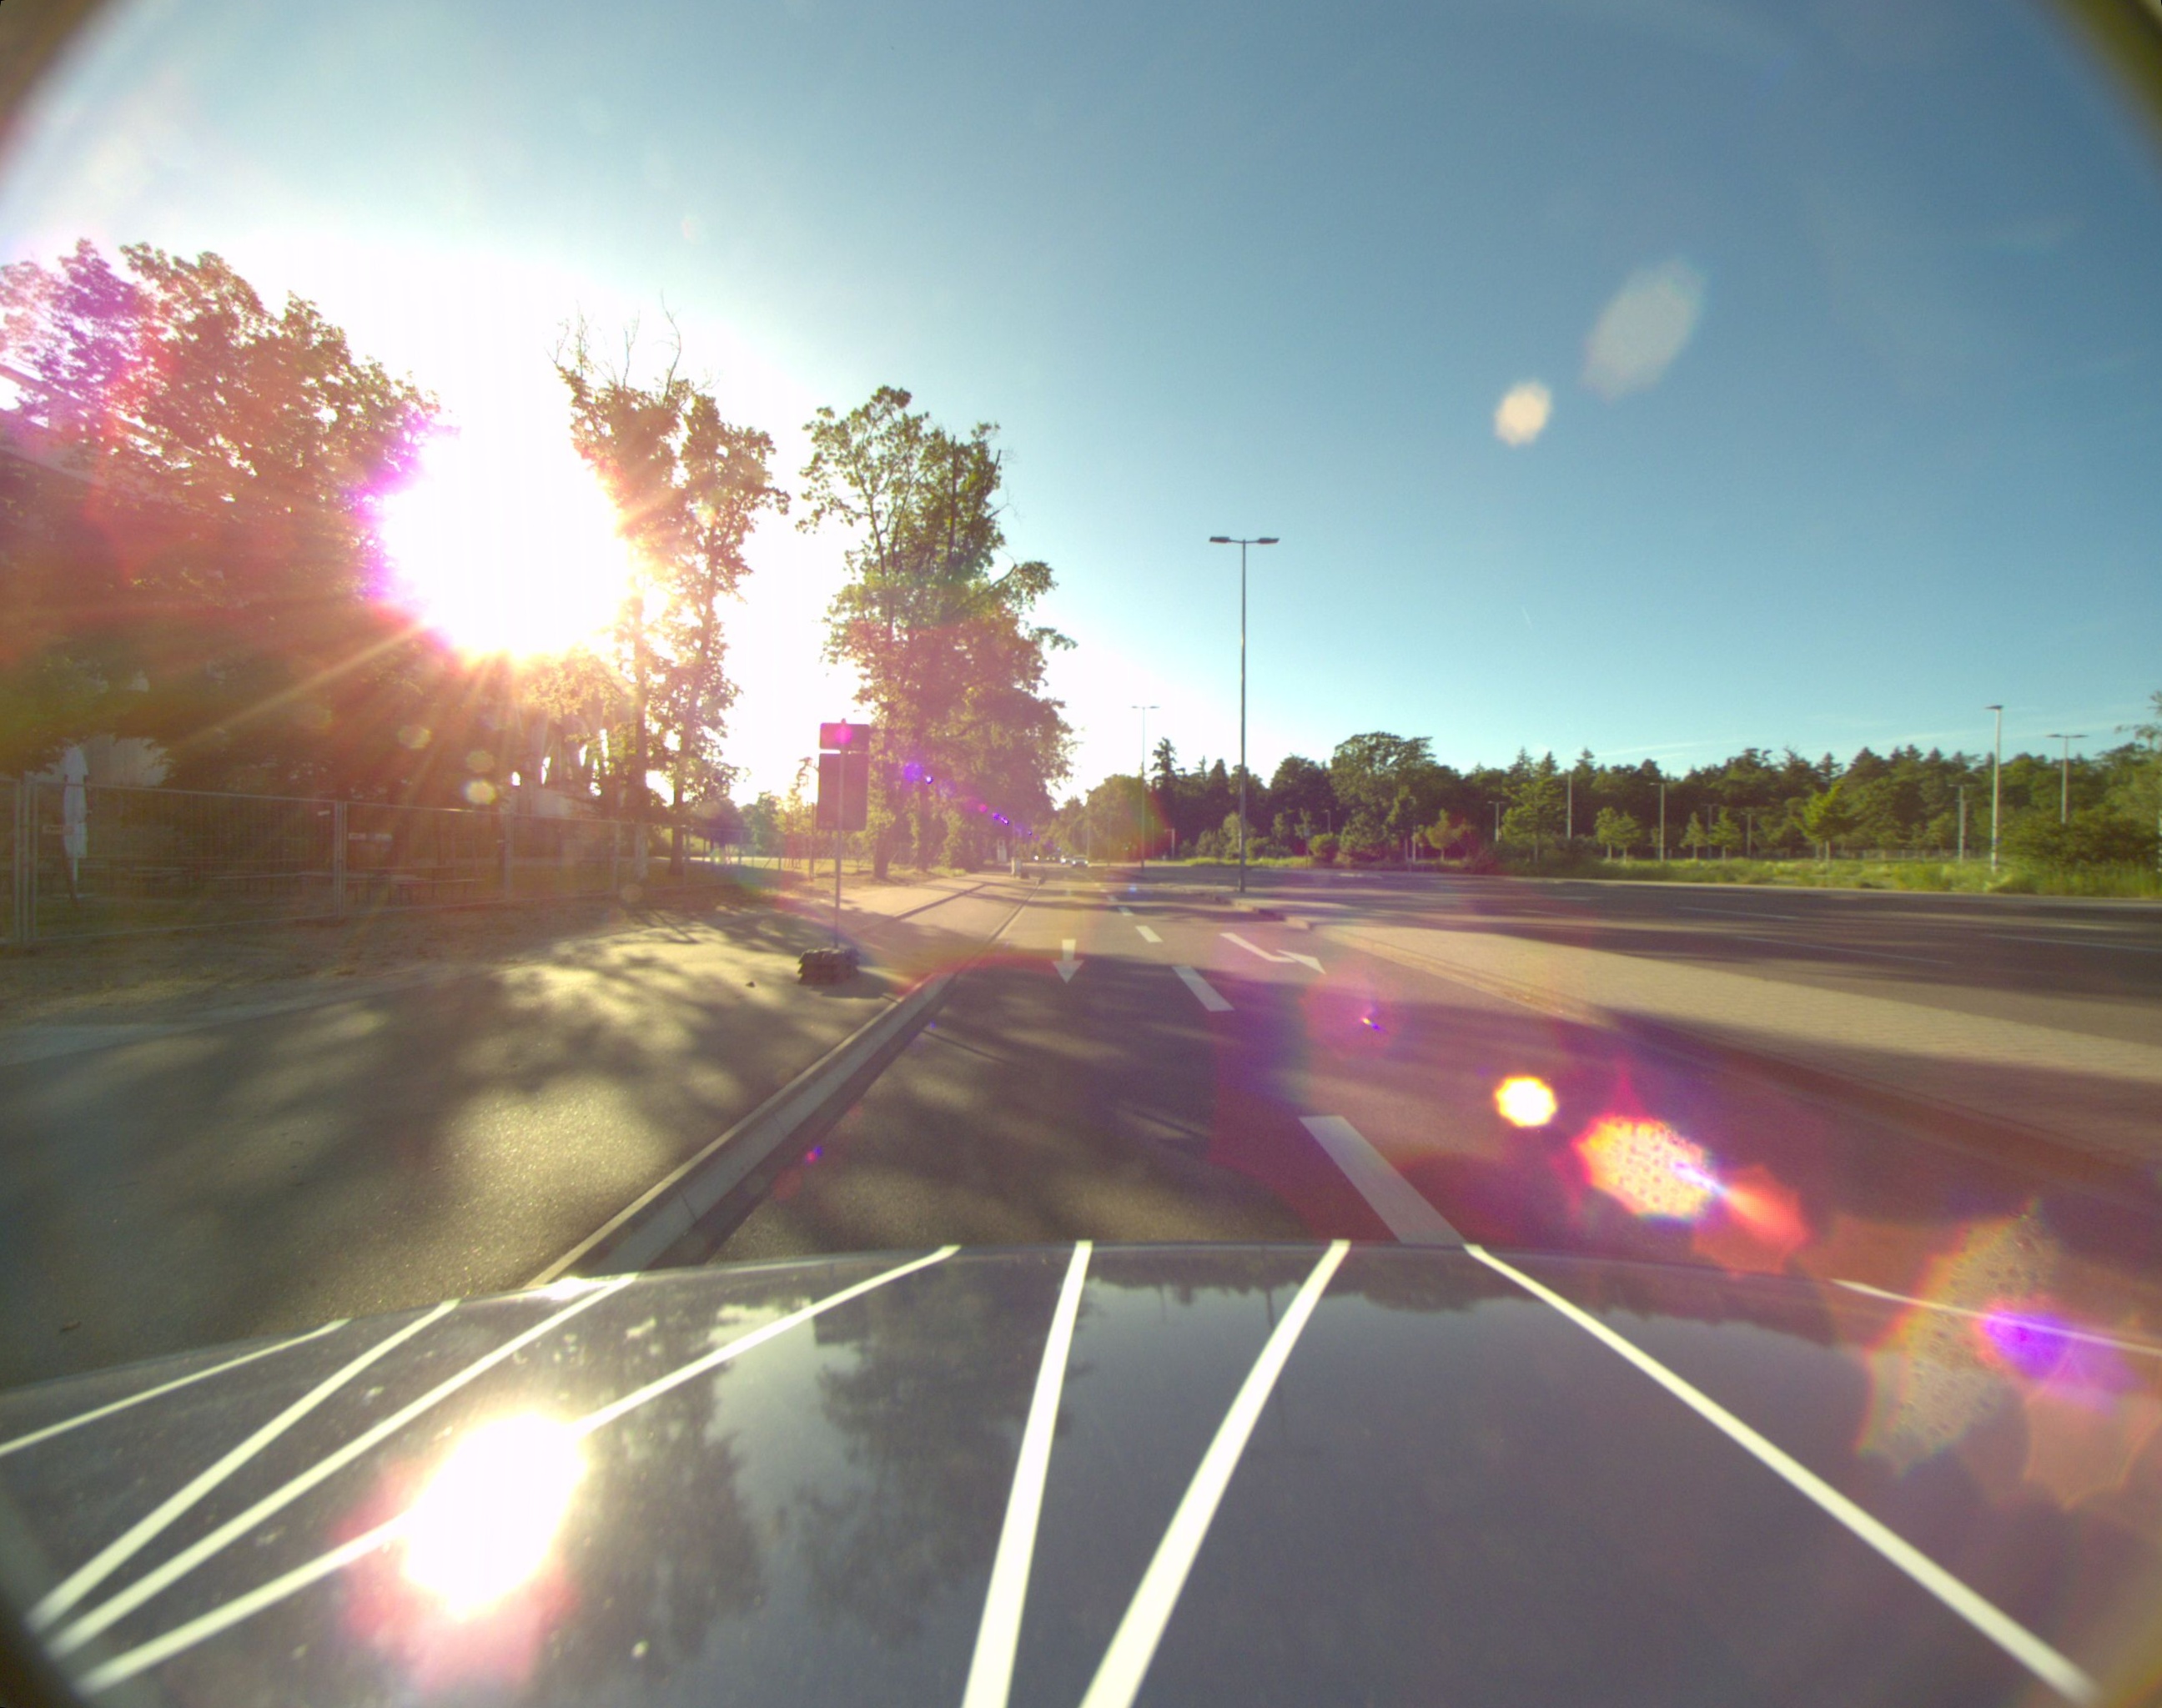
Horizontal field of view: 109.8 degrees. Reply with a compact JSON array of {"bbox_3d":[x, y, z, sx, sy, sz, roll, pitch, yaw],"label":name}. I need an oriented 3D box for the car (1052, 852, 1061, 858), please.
[{"bbox_3d":[-5.795,0.178,181.671,1.842,1.395,4.989,-1,0,-4],"label":"car"}]

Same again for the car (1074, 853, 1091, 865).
[{"bbox_3d":[0.164,0.563,92.092,1.841,1.395,3.998,-1,0,-3],"label":"car"}]

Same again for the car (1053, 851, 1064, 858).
[{"bbox_3d":[-4.416,0.087,147.972,1.842,1.395,4.989,-1,0,-4],"label":"car"}]

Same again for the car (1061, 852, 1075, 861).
[{"bbox_3d":[-2.053,0.338,118.167,1.841,1.395,4.990,-1,0,-3],"label":"car"}]
